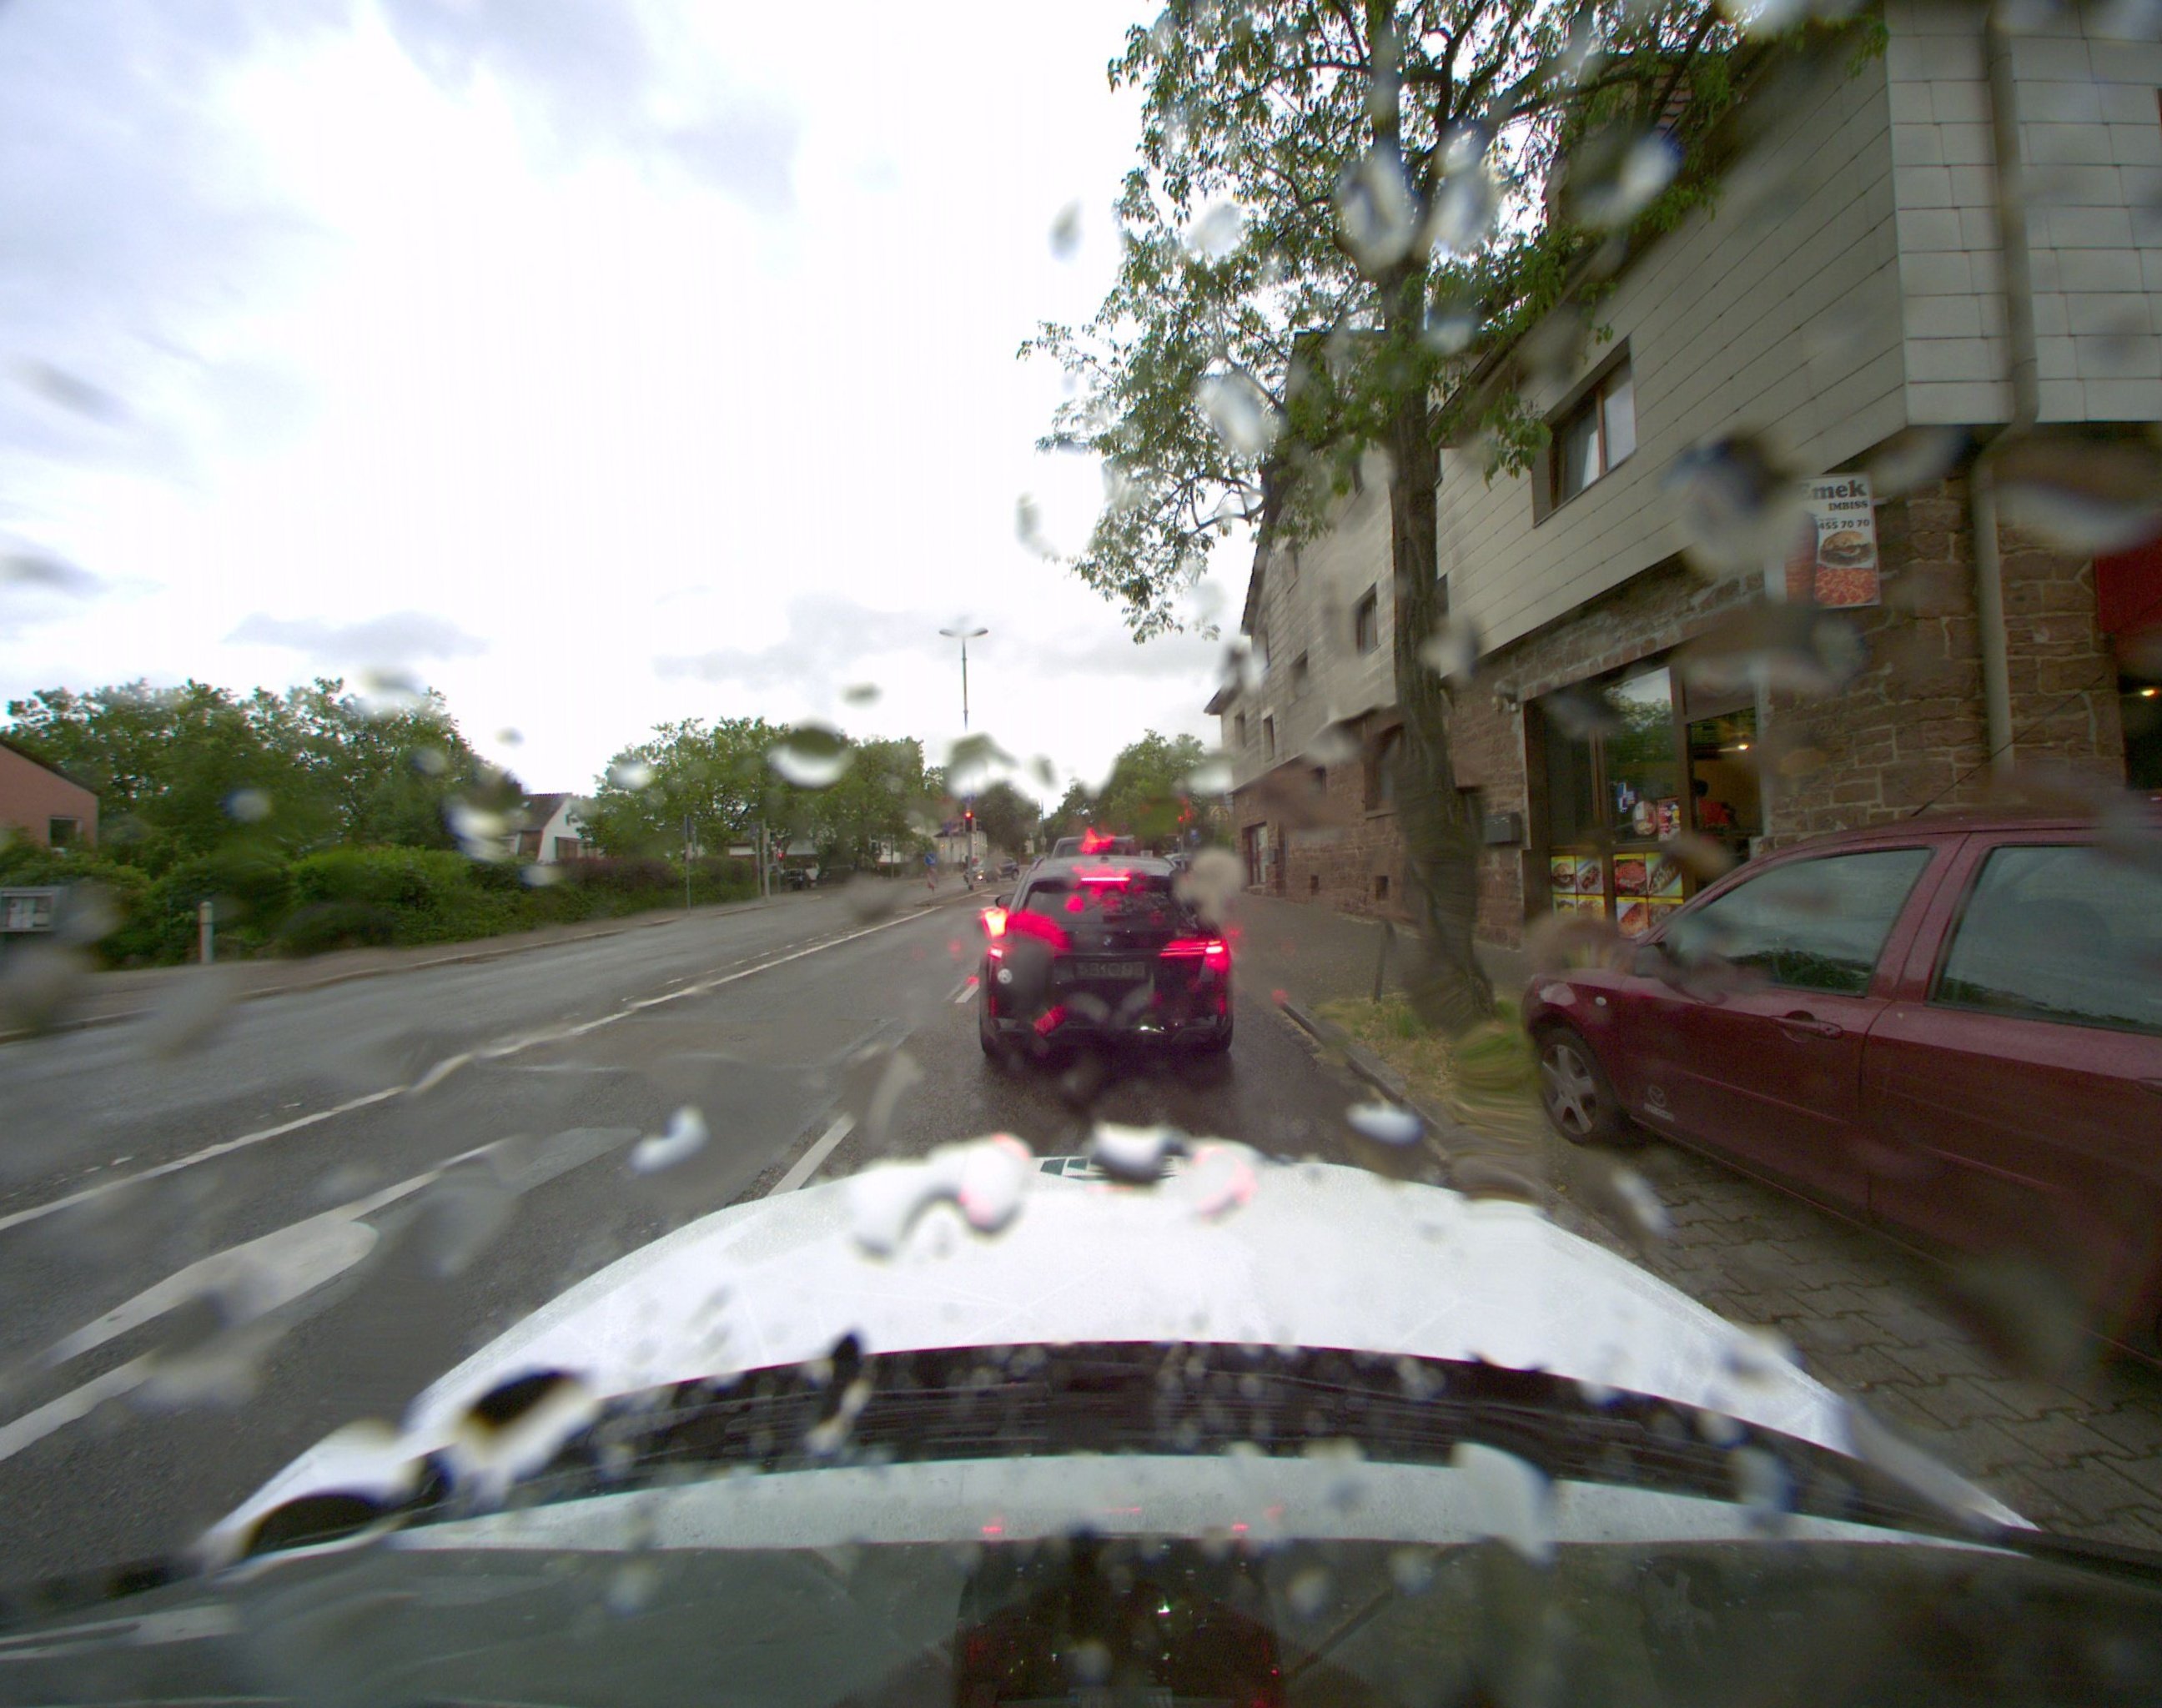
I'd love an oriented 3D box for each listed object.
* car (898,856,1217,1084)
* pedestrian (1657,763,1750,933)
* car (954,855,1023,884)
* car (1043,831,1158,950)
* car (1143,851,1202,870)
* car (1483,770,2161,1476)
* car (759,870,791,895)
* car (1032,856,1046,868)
[{"bbox_3d":[-0.171,0.756,7.547,2.058,1.446,4.481,-1,0,-1],"label":"car"},{"bbox_3d":[6.959,-0.069,9.125,0.635,1.839,0.483,-1,0,1],"label":"pedestrian"},{"bbox_3d":[-5.399,0.898,48.028,1.974,1.510,3.980,-1,0,32],"label":"car"},{"bbox_3d":[0.300,0.566,14.807,1.778,1.817,3.999,-1,0,0],"label":"car"},{"bbox_3d":[6.773,0.504,60.565,3.991,1.288,1.841,-2,0,-13],"label":"car"},{"bbox_3d":[3.040,0.519,2.613,1.579,1.490,3.626,-5,1,-1],"label":"car"},{"bbox_3d":[-21.672,1.990,57.753,2.000,1.552,3.973,-2,0,-20],"label":"car"},{"bbox_3d":[-5.212,1.010,101.504,1.459,1.398,3.323,-1,0,2],"label":"car"}]
